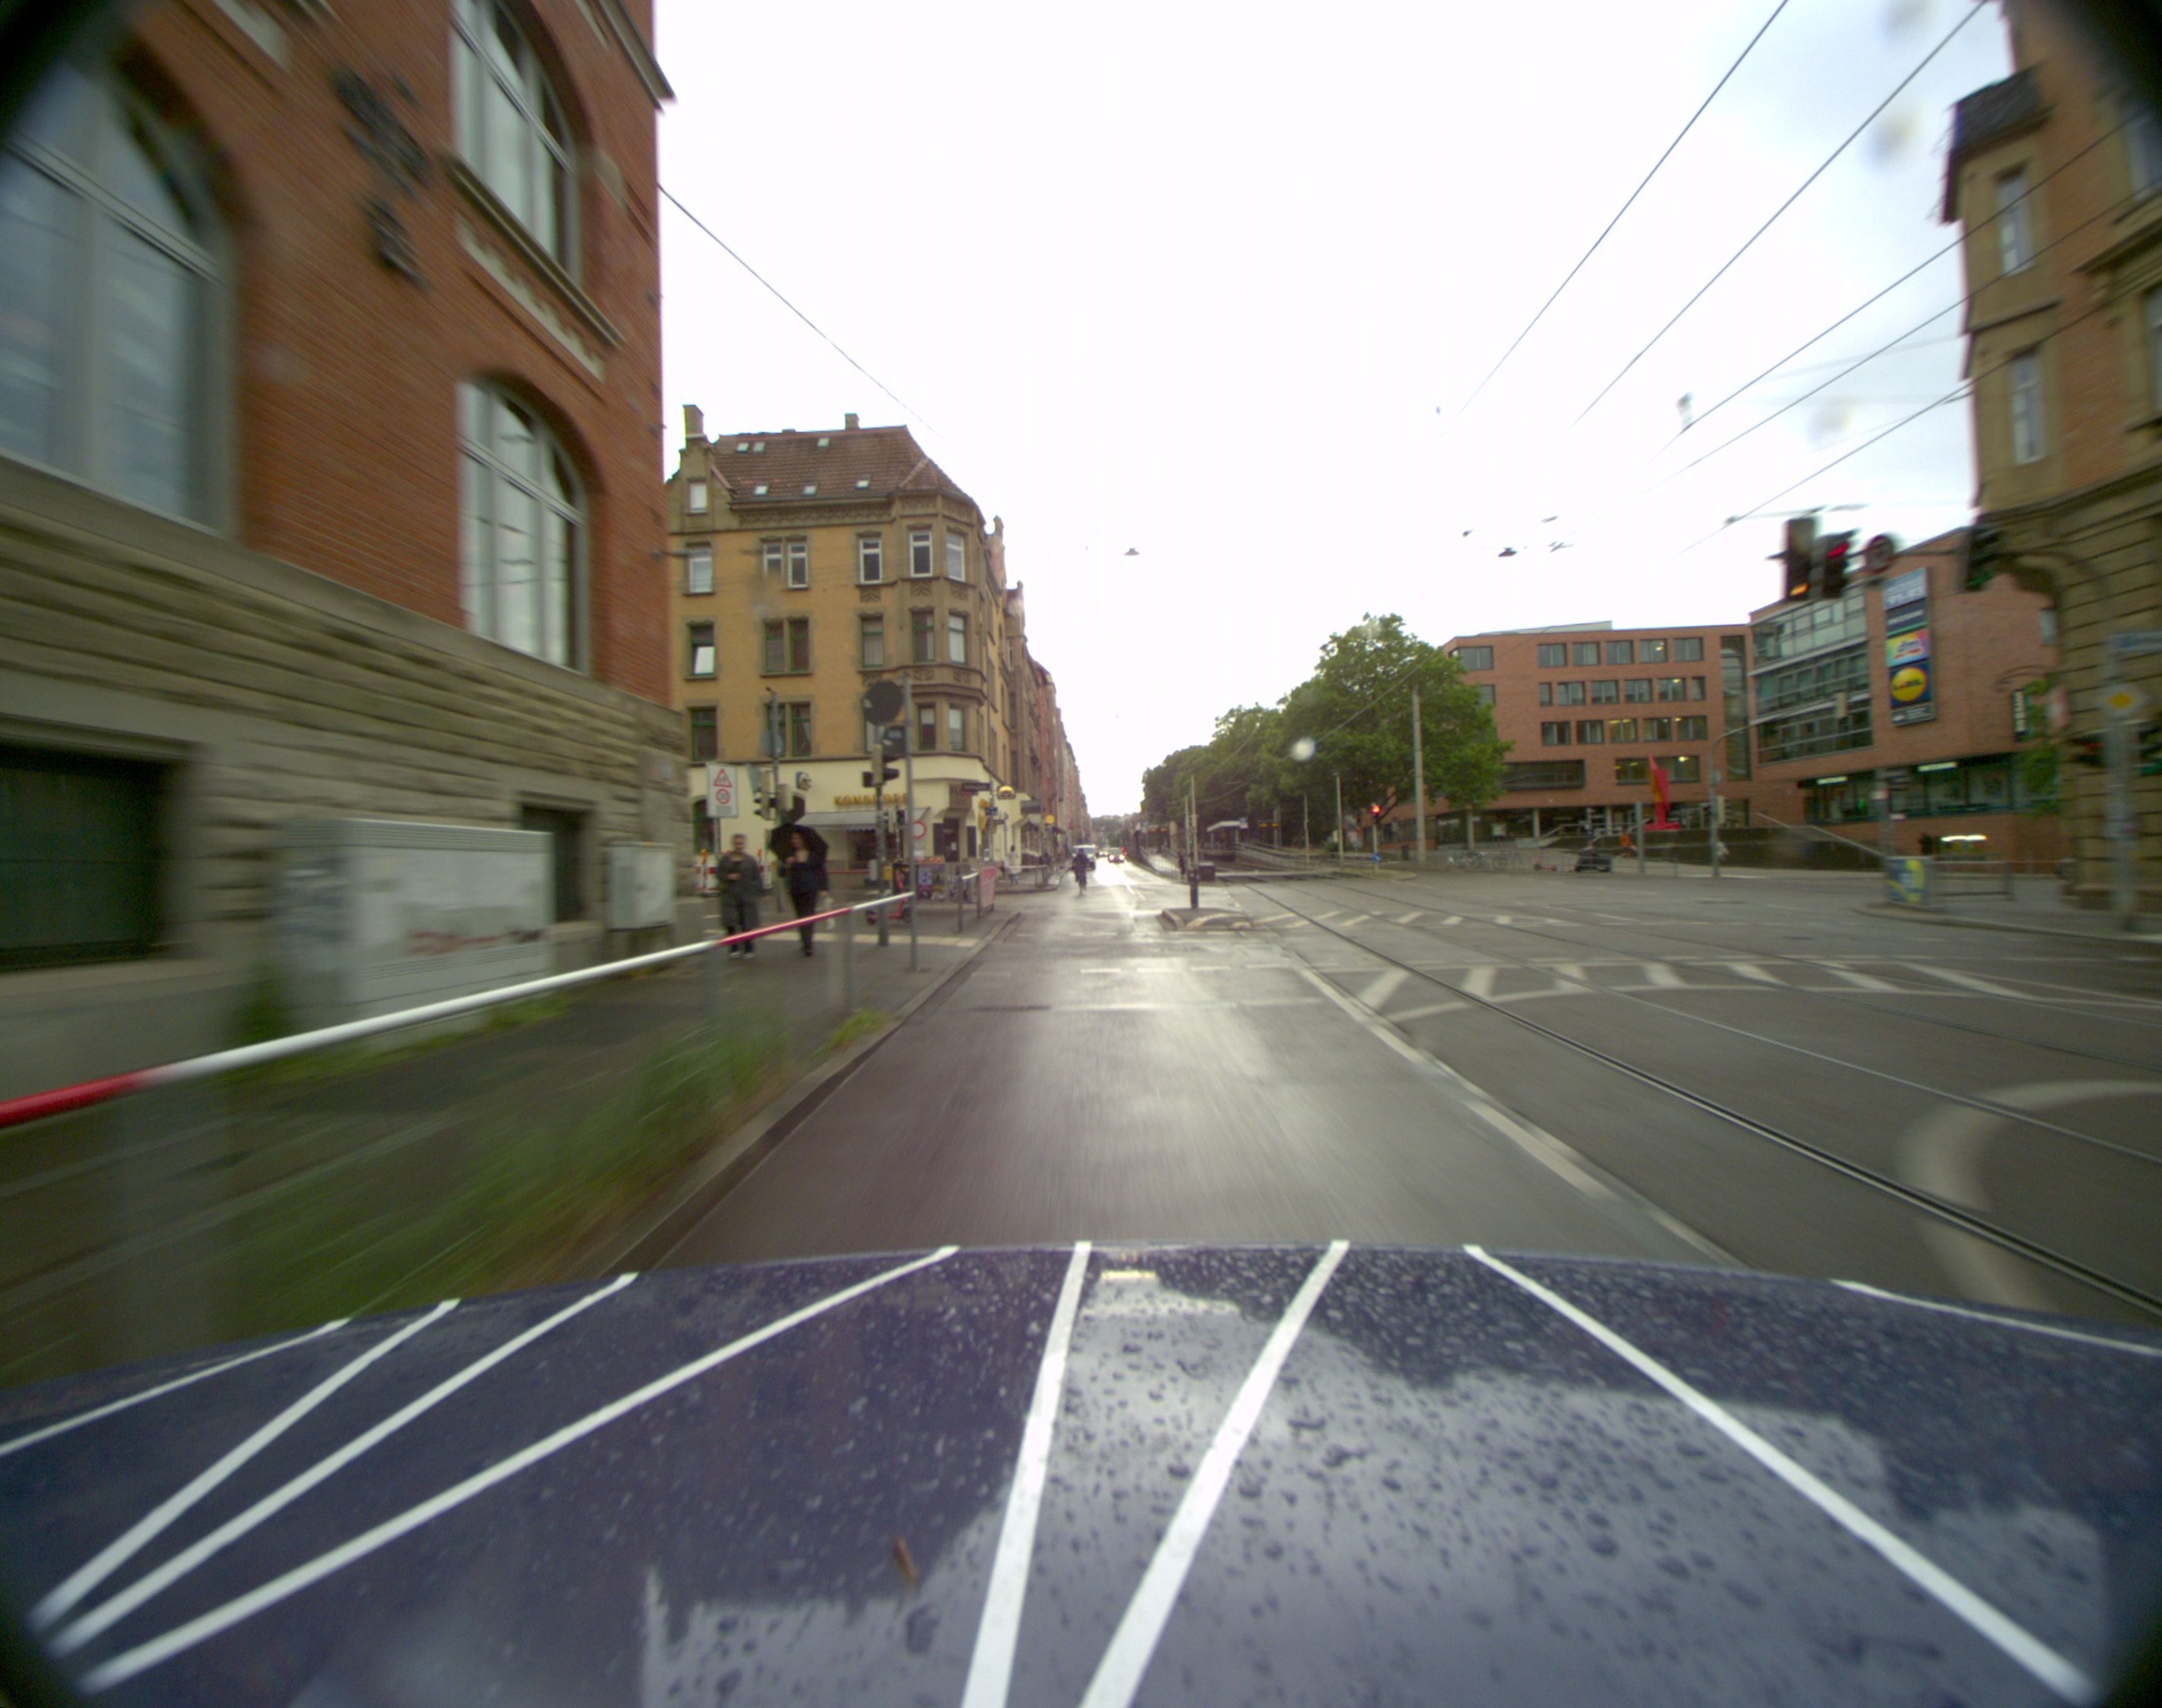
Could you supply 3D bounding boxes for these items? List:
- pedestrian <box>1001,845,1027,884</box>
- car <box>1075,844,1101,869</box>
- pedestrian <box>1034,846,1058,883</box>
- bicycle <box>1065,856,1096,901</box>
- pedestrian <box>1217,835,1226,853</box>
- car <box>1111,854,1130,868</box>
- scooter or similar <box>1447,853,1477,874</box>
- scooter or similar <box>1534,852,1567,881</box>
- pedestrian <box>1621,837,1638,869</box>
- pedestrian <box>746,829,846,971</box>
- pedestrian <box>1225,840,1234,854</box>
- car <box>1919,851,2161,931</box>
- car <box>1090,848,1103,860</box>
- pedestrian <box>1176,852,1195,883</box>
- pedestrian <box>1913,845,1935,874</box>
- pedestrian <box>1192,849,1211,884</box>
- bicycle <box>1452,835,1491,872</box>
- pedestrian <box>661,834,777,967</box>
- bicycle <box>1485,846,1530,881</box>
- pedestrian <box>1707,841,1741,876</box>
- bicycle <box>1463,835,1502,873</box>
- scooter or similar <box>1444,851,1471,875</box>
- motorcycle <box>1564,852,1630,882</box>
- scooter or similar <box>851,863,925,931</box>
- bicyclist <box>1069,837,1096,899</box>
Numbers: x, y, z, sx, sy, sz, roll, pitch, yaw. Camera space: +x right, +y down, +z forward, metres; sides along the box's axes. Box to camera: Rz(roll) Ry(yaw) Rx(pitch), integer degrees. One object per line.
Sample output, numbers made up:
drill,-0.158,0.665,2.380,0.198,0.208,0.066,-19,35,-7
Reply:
pedestrian,-2.964,0.445,33.753,0.996,1.694,0.781,-2,1,1
car,0.615,0.160,62.977,1.825,1.893,5.991,-2,1,3
pedestrian,-1.682,0.492,36.829,1.019,1.711,0.930,2,1,3
bicycle,-0.004,0.868,28.156,0.936,1.545,3.135,-1,0,3
pedestrian,16.513,-1.194,89.159,0.837,2.050,0.884,-1,1,-2
car,4.342,0.715,83.769,1.883,1.439,3.999,-1,1,1
scooter or similar,22.191,0.544,44.269,1.720,1.187,0.478,-1,1,-19
scooter or similar,23.347,0.627,37.806,1.507,1.363,0.452,-2,1,-15
pedestrian,31.633,-0.077,43.824,0.791,1.735,1.071,0,5,35
pedestrian,-3.934,0.612,10.580,0.960,1.876,1.073,0,1,1
pedestrian,16.442,-0.794,84.286,0.781,1.475,0.884,-1,1,-2
car,20.937,0.740,16.498,3.796,1.529,1.777,-1,1,-6
car,2.408,-0.022,119.567,1.884,1.838,3.999,-1,1,-2
pedestrian,5.593,0.710,40.704,0.837,1.595,1.001,-1,1,0
pedestrian,45.663,0.275,41.177,0.519,1.557,0.592,-1,1,0
pedestrian,6.437,0.653,40.566,0.827,1.788,1.001,-1,1,0
bicycle,22.023,-0.034,42.864,1.896,2.002,0.518,-2,1,-5
pedestrian,-4.623,0.567,9.787,0.960,1.616,1.073,0,1,1
bicycle,22.371,0.505,39.865,2.096,1.689,0.556,-4,3,-5
pedestrian,32.799,0.234,38.767,0.898,1.720,1.009,-1,2,1
bicycle,22.129,-0.025,41.871,1.896,2.002,0.518,-2,1,-5
scooter or similar,22.273,0.556,44.944,1.507,1.363,0.452,-2,1,-15
motorcycle,24.421,0.616,35.985,2.658,1.363,0.865,-1,1,-5
scooter or similar,-3.739,0.814,14.704,1.247,1.243,0.639,0,1,23
bicyclist,0.070,0.503,28.131,0.920,2.250,1.287,-1,1,3
